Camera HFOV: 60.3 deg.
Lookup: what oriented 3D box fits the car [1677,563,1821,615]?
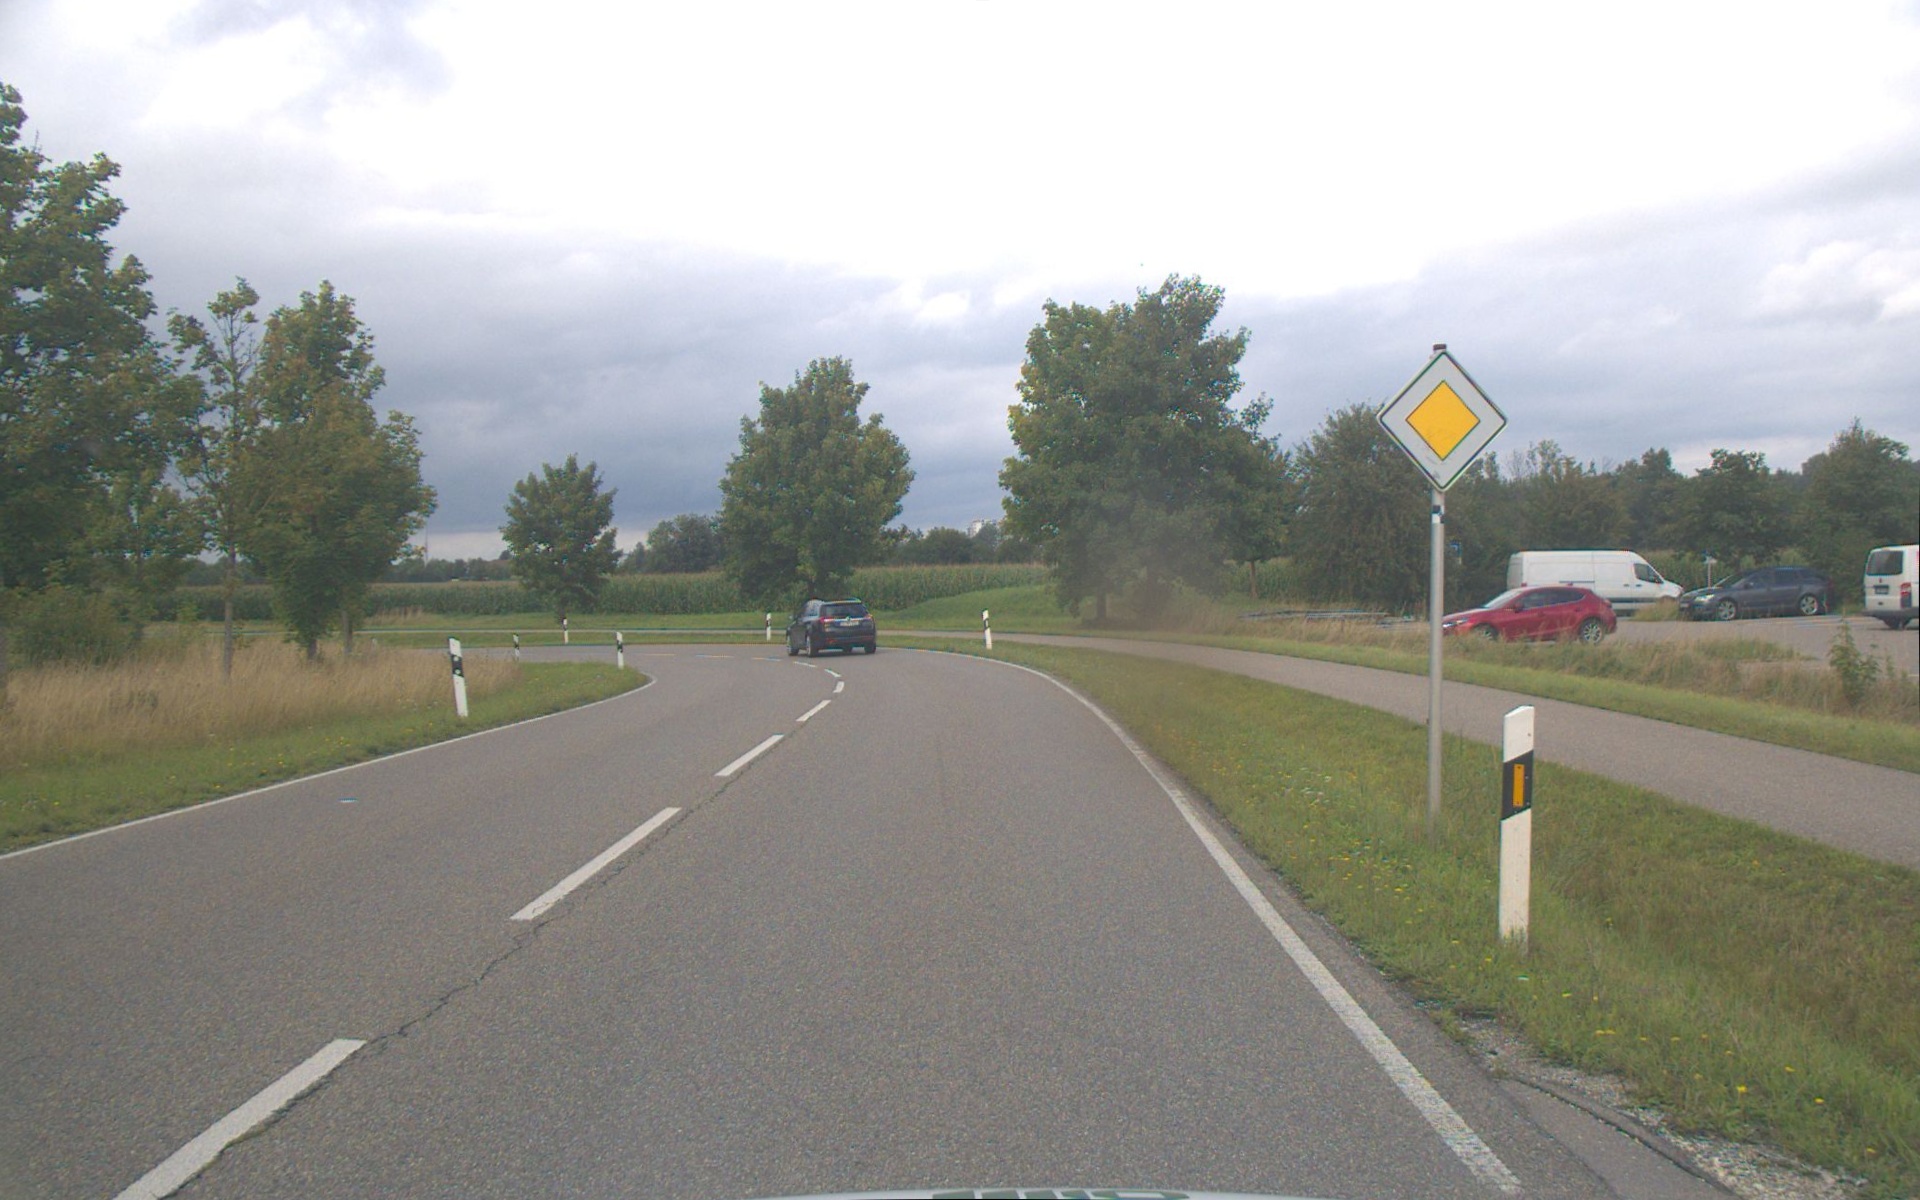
[{"bbox_3d":[23.838,-0.330,50.043,3.552,1.465,1.706,-1,0,-1],"label":"car"}]

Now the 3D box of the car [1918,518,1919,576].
[{"bbox_3d":[28.733,-1.504,45.361,3.914,1.624,1.996,-1,0,-10],"label":"car"}]

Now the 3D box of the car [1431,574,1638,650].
[{"bbox_3d":[13.821,0.267,39.950,4.244,1.602,1.970,-3,0,-4],"label":"car"}]

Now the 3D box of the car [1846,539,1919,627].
[{"bbox_3d":[24.441,-0.506,39.920,4.927,2.035,2.230,-3,0,-4],"label":"car"}]

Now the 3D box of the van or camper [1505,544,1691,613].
[{"bbox_3d":[25.448,-0.844,66.129,6.603,2.606,2.049,-1,0,1],"label":"van or camper"}]

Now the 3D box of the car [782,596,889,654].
[{"bbox_3d":[-3.374,0.632,44.244,1.815,1.442,3.975,-1,0,-21],"label":"car"}]
